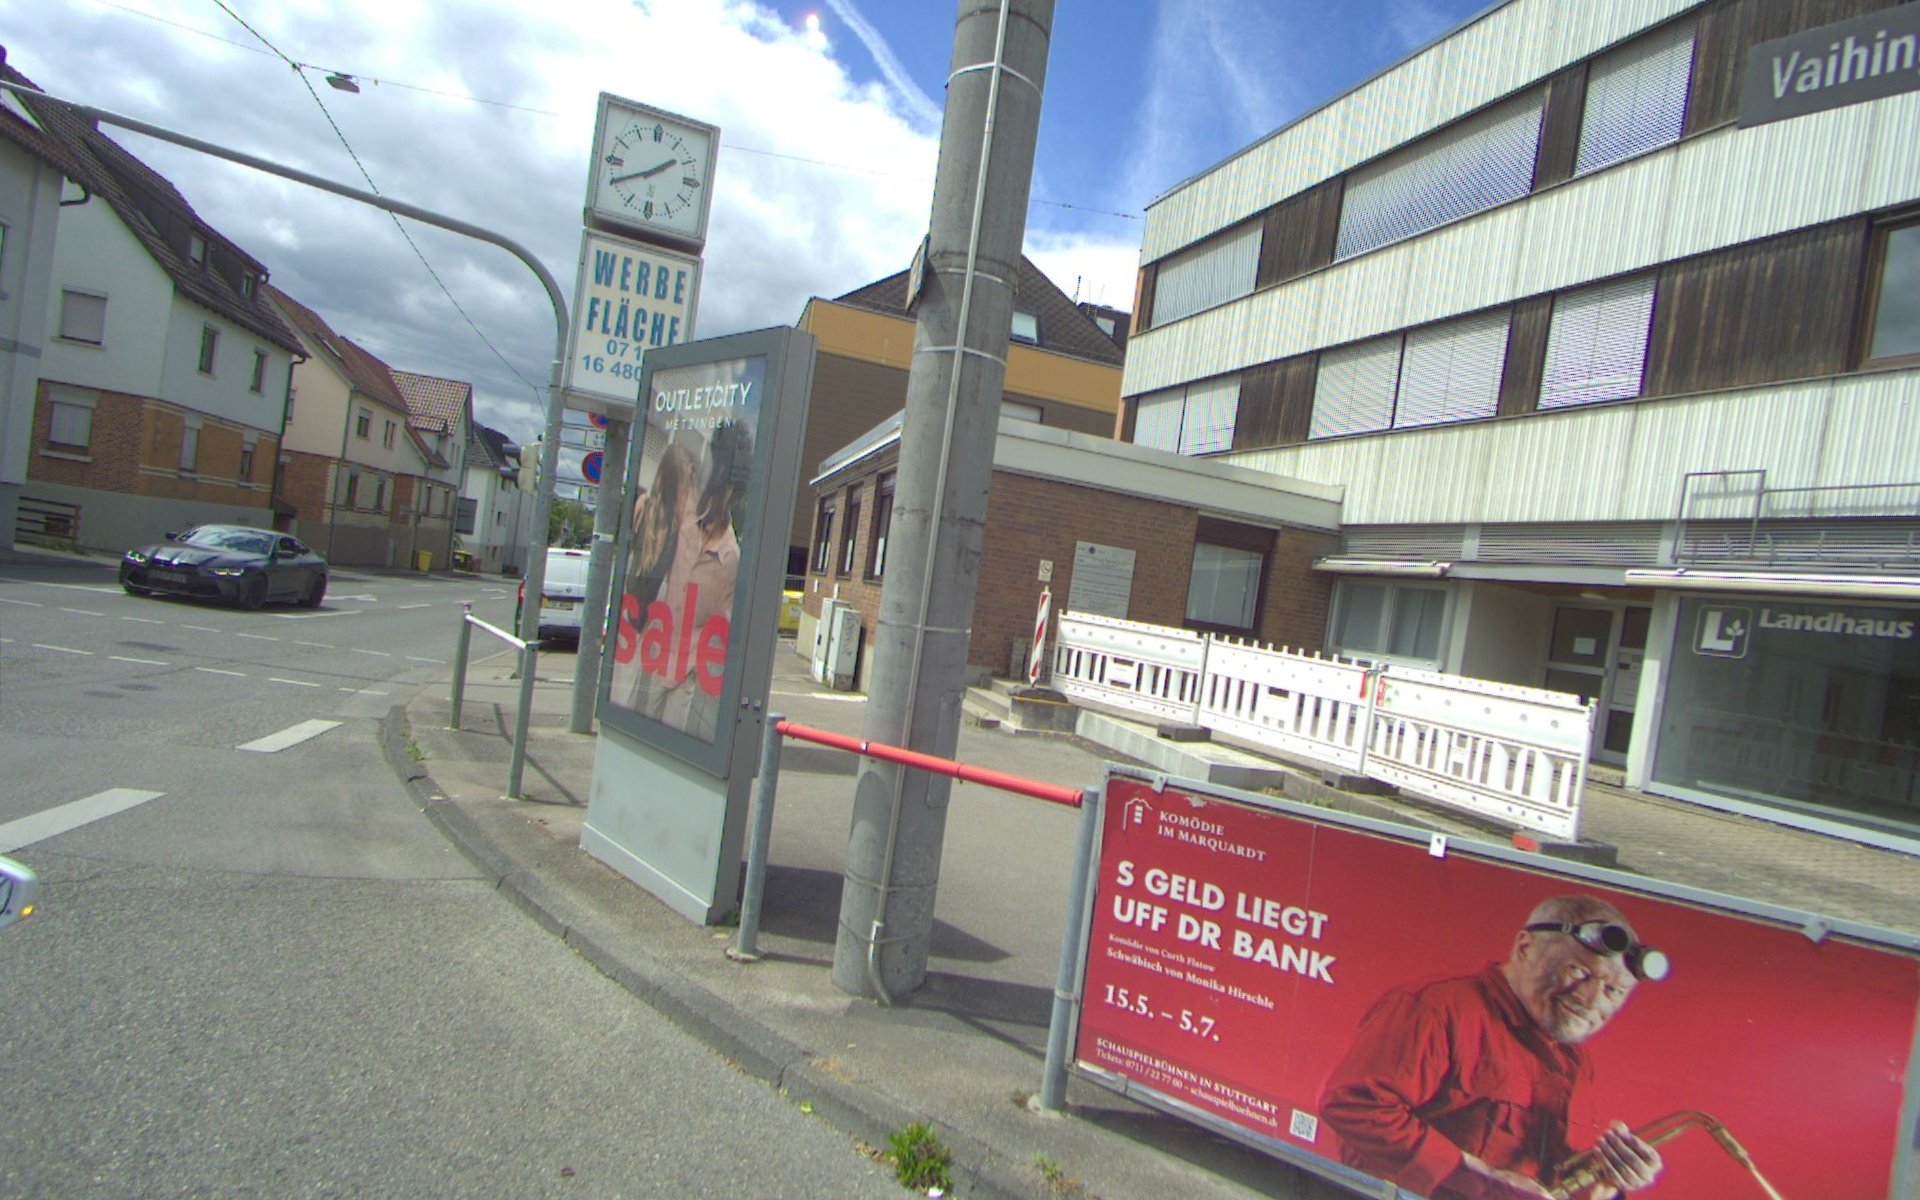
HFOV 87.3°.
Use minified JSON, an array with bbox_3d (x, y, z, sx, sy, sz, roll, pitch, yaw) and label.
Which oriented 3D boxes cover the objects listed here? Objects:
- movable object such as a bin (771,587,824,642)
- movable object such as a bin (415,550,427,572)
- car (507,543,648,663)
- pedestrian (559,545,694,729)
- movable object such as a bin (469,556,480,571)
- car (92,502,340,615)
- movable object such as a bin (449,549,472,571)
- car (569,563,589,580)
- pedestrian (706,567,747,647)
[{"bbox_3d":[-5.214,0.469,32.202,1.464,1.511,1.072,8,2,-13],"label":"movable object such as a bin"},{"bbox_3d":[-30.089,-2.177,56.144,0.426,1.142,0.298,7,1,-18],"label":"movable object such as a bin"},{"bbox_3d":[-7.203,0.024,19.380,1.888,1.816,4.477,8,-1,-15],"label":"car"},{"bbox_3d":[-3.253,0.339,9.871,0.857,1.660,0.836,6,3,11],"label":"pedestrian"},{"bbox_3d":[-35.036,-2.637,72.634,0.525,1.042,0.453,8,0,-18],"label":"movable object such as a bin"},{"bbox_3d":[-13.236,-0.699,18.319,1.972,1.473,4.601,10,-1,-16],"label":"car"},{"bbox_3d":[-35.428,-2.845,71.360,1.268,1.325,0.812,8,0,-22],"label":"movable object such as a bin"},{"bbox_3d":[-51.640,-3.860,136.215,1.976,2.037,3.976,8,-1,-25],"label":"car"},{"bbox_3d":[-5.522,0.157,23.796,0.832,1.827,0.648,3,2,-17],"label":"pedestrian"}]
